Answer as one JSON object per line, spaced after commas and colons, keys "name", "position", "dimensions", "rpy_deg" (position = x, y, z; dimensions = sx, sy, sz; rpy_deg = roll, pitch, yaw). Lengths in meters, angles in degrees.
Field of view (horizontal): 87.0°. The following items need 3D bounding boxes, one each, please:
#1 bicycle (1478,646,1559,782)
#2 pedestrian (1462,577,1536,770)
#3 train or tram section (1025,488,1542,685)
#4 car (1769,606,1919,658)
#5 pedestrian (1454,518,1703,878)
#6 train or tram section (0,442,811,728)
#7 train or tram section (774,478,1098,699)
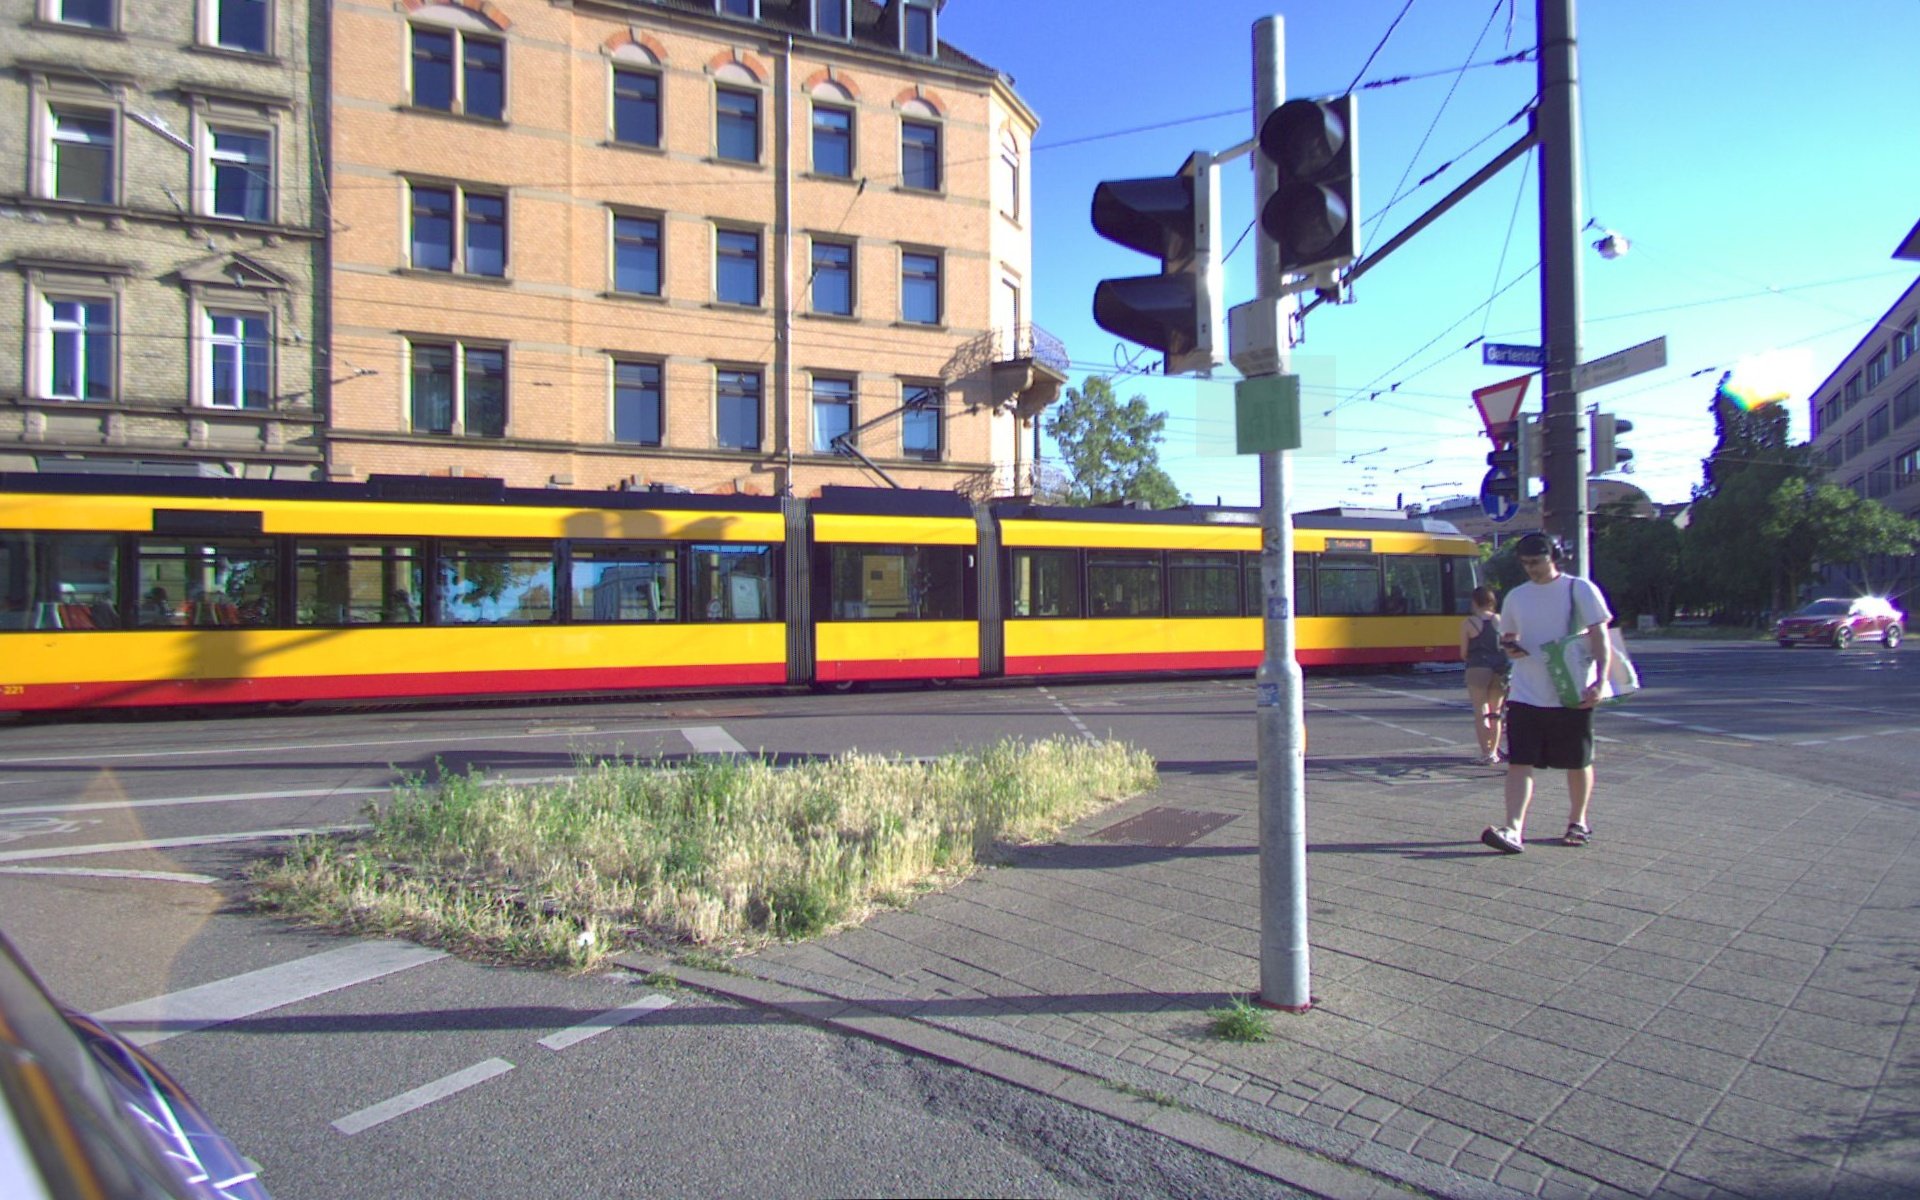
{"name": "bicycle", "position": [4.878, 0.944, 8.893], "dimensions": [0.397, 1.037, 1.659], "rpy_deg": [-1, -1, 22]}
{"name": "pedestrian", "position": [4.774, 0.637, 8.990], "dimensions": [0.486, 1.644, 0.521], "rpy_deg": [-1, -2, 22]}
{"name": "train or tram section", "position": [7.045, -0.219, 21.539], "dimensions": [11.101, 3.534, 2.879], "rpy_deg": [0, -1, -21]}
{"name": "car", "position": [29.463, 1.049, 33.545], "dimensions": [4.389, 1.627, 1.827], "rpy_deg": [0, -1, -15]}
{"name": "pedestrian", "position": [3.459, 0.500, 5.691], "dimensions": [0.814, 1.802, 0.914], "rpy_deg": [1, -2, -36]}
{"name": "train or tram section", "position": [-8.873, -0.162, 15.210], "dimensions": [12.789, 3.534, 2.879], "rpy_deg": [0, -1, -21]}
{"name": "train or tram section", "position": [-0.512, -0.157, 18.507], "dimensions": [5.211, 3.534, 2.879], "rpy_deg": [0, -1, -21]}
